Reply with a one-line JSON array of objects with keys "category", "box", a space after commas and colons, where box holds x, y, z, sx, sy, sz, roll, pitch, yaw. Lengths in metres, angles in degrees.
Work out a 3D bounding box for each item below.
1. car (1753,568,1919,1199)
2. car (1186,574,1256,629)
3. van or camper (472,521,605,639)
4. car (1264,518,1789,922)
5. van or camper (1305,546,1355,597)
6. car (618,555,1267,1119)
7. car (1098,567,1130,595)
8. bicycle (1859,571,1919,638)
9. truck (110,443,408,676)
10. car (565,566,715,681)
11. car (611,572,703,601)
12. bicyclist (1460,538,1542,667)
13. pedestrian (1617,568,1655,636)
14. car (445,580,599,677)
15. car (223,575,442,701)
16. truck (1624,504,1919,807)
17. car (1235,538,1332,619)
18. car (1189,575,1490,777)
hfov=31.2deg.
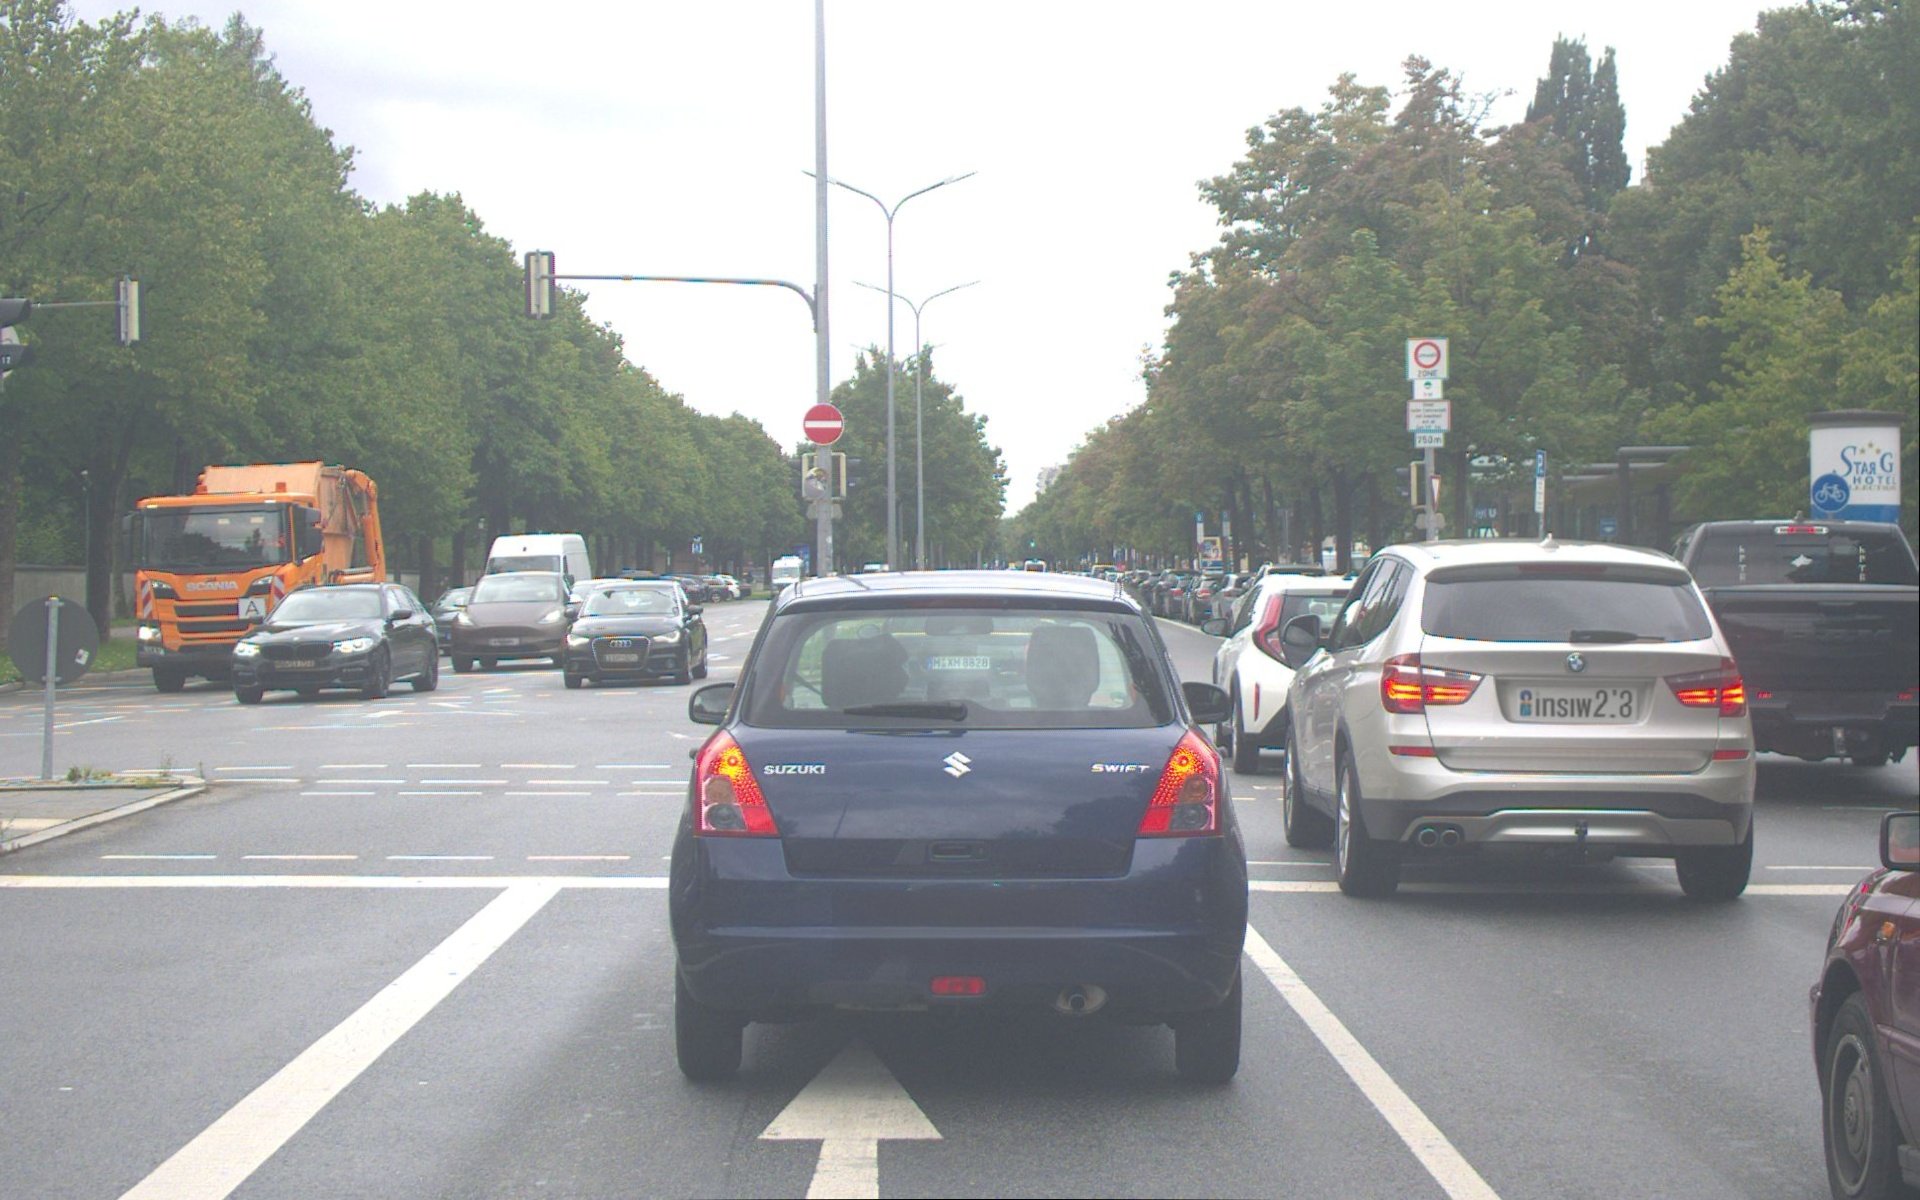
[{"category": "car", "box": [2.770, 0.659, 6.542, 1.622, 1.449, 3.950, 0, 0, 0]}, {"category": "car", "box": [7.401, 0.022, 97.888, 1.717, 1.503, 4.223, 0, 0, 1]}, {"category": "van or camper", "box": [-10.052, -0.496, 82.525, 2.178, 2.638, 6.951, -2, 1, 0]}, {"category": "car", "box": [2.629, 0.501, 16.902, 1.850, 1.737, 4.098, 0, 0, -1]}, {"category": "van or camper", "box": [19.128, -1.469, 177.900, 2.024, 2.549, 5.956, -1, 1, 1]}, {"category": "car", "box": [-0.074, 0.639, 11.509, 1.789, 1.550, 4.000, 0, 0, -1]}, {"category": "car", "box": [8.702, -1.082, 194.258, 1.684, 1.520, 4.455, 1, 1, 2]}, {"category": "bicycle", "box": [16.756, 0.058, 60.323, 1.806, 1.138, 0.567, -2, 0, 6]}, {"category": "truck", "box": [-10.656, -0.598, 53.003, 2.781, 3.345, 7.265, 0, 0, 3]}, {"category": "car", "box": [-4.309, 0.290, 46.755, 1.639, 1.482, 3.781, 0, 0, 1]}, {"category": "car", "box": [-14.478, -0.667, 164.405, 3.987, 1.349, 1.851, -1, 1, -33]}, {"category": "bicyclist", "box": [7.467, 0.025, 47.486, 0.825, 1.758, 0.746, -1, 0, -34]}, {"category": "pedestrian", "box": [15.160, 0.034, 77.132, 0.578, 1.508, 0.694, 0, 0, -17]}, {"category": "car", "box": [-7.264, 0.445, 57.435, 1.862, 1.536, 4.749, 0, 0, 1]}, {"category": "car", "box": [-8.066, 0.447, 44.629, 1.926, 1.457, 4.899, -2, 0, 0]}, {"category": "truck", "box": [6.203, 0.343, 25.714, 2.099, 2.007, 5.810, 0, 0, 8]}, {"category": "car", "box": [7.088, -0.496, 75.800, 1.747, 1.718, 4.906, 1, 1, 1]}, {"category": "car", "box": [2.882, 0.536, 26.903, 1.850, 1.442, 4.098, 0, 0, -1]}]
